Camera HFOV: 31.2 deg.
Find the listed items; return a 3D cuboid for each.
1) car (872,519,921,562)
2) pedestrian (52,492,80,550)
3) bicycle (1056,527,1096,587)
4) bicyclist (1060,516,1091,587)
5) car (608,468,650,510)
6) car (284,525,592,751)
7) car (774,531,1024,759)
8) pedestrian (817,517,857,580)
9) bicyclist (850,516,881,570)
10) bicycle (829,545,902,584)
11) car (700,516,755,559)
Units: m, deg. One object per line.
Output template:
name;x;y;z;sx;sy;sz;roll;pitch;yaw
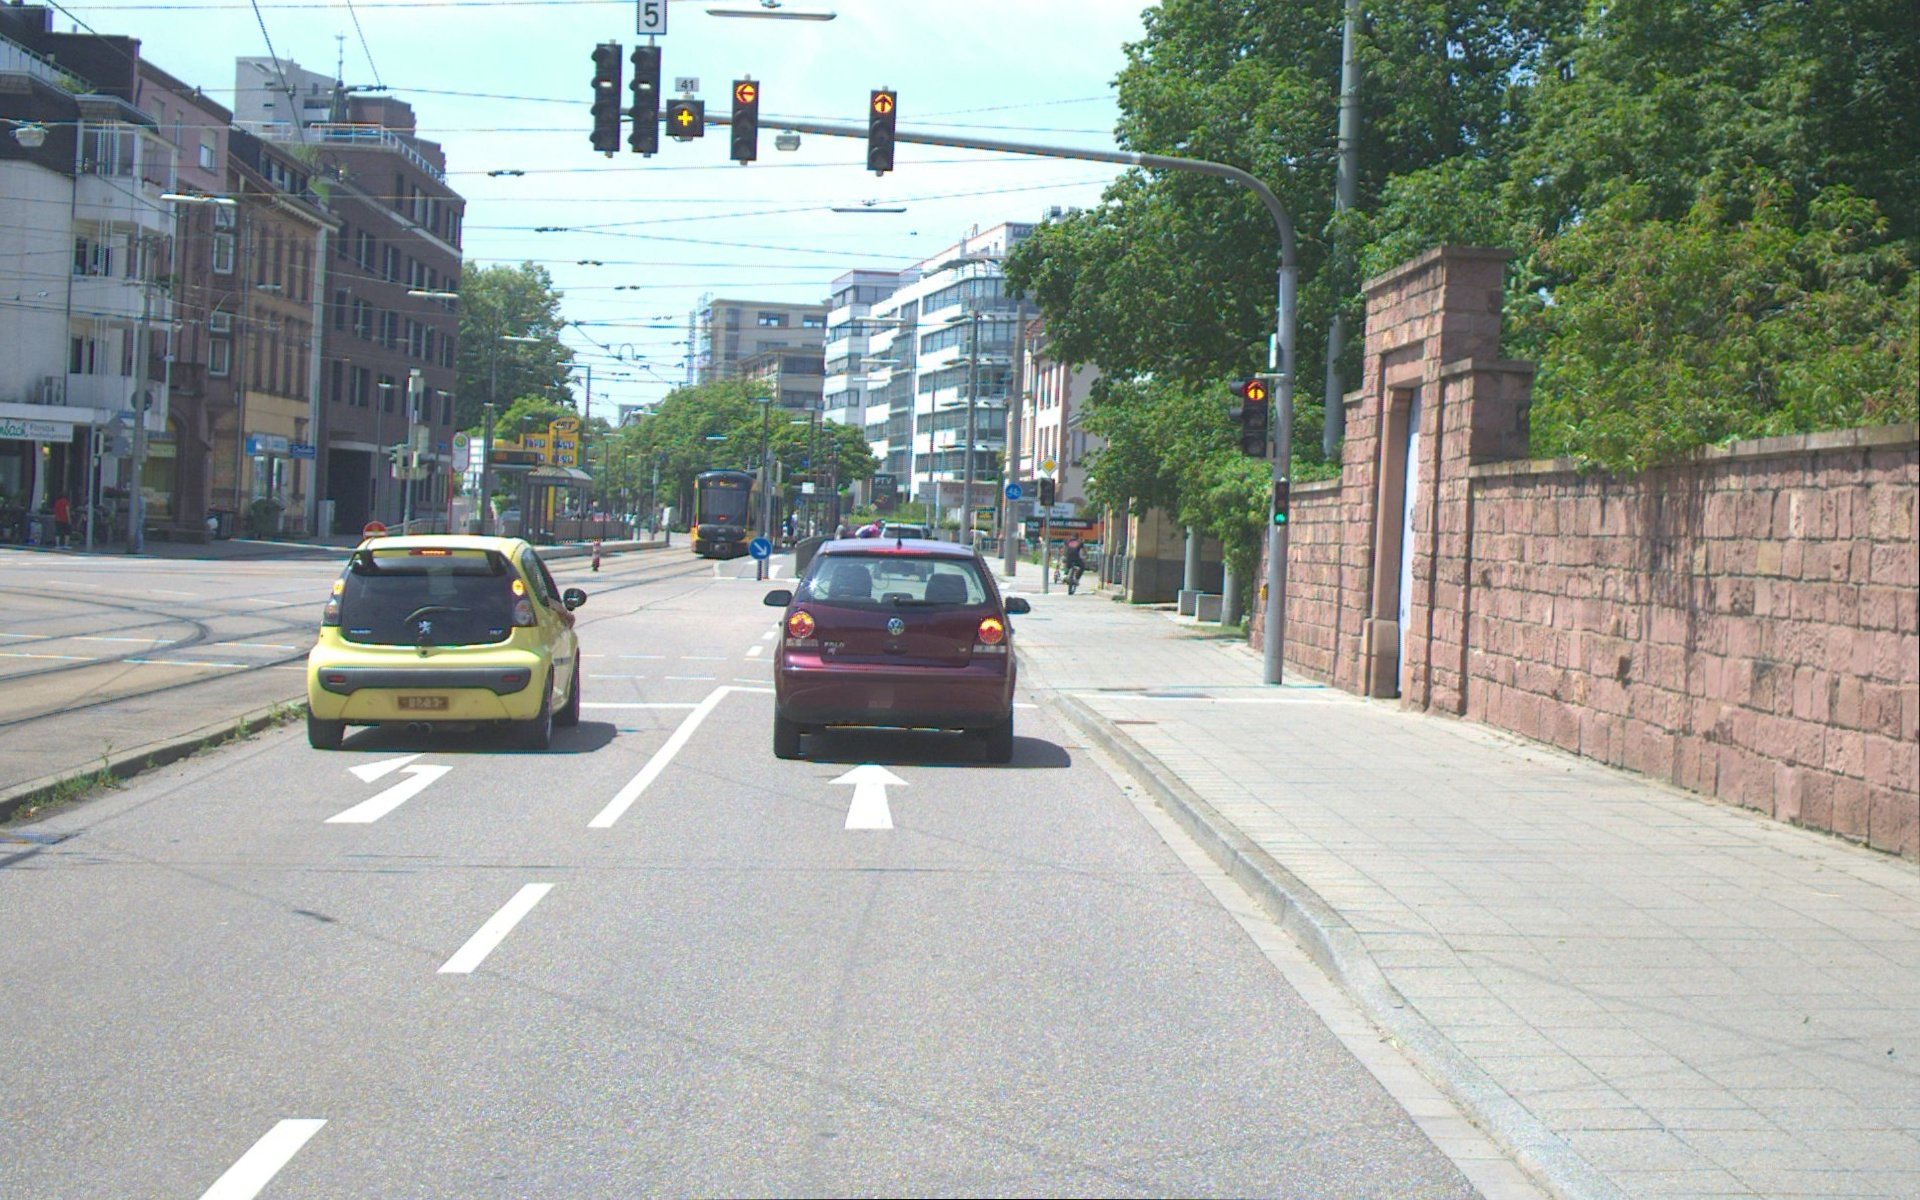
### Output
car;-2.118;-2.000;114.391;1.572;1.411;3.720;0;1;-1
pedestrian;-23.769;-2.104;91.407;0.484;1.535;0.538;1;0;18
bicycle;3.008;-1.105;89.570;0.835;1.520;4.000;1;0;-1
bicyclist;2.997;-1.258;89.036;0.721;1.812;0.888;1;0;-1
car;-16.680;-5.579;173.407;1.735;2.007;4.000;2;1;-1
car;-3.603;0.214;24.199;1.723;1.440;3.293;1;2;-1
car;-0.437;0.252;24.193;1.610;1.458;4.086;0;1;-1
pedestrian;-3.324;-1.384;92.625;0.981;1.655;0.919;2;1;-4
bicyclist;-2.488;-1.509;90.672;0.765;1.401;0.506;1;0;-4
bicycle;-2.496;-0.937;90.680;1.865;1.004;0.579;1;0;-5
car;-9.190;-2.456;136.140;1.938;1.635;4.000;1;0;-1
